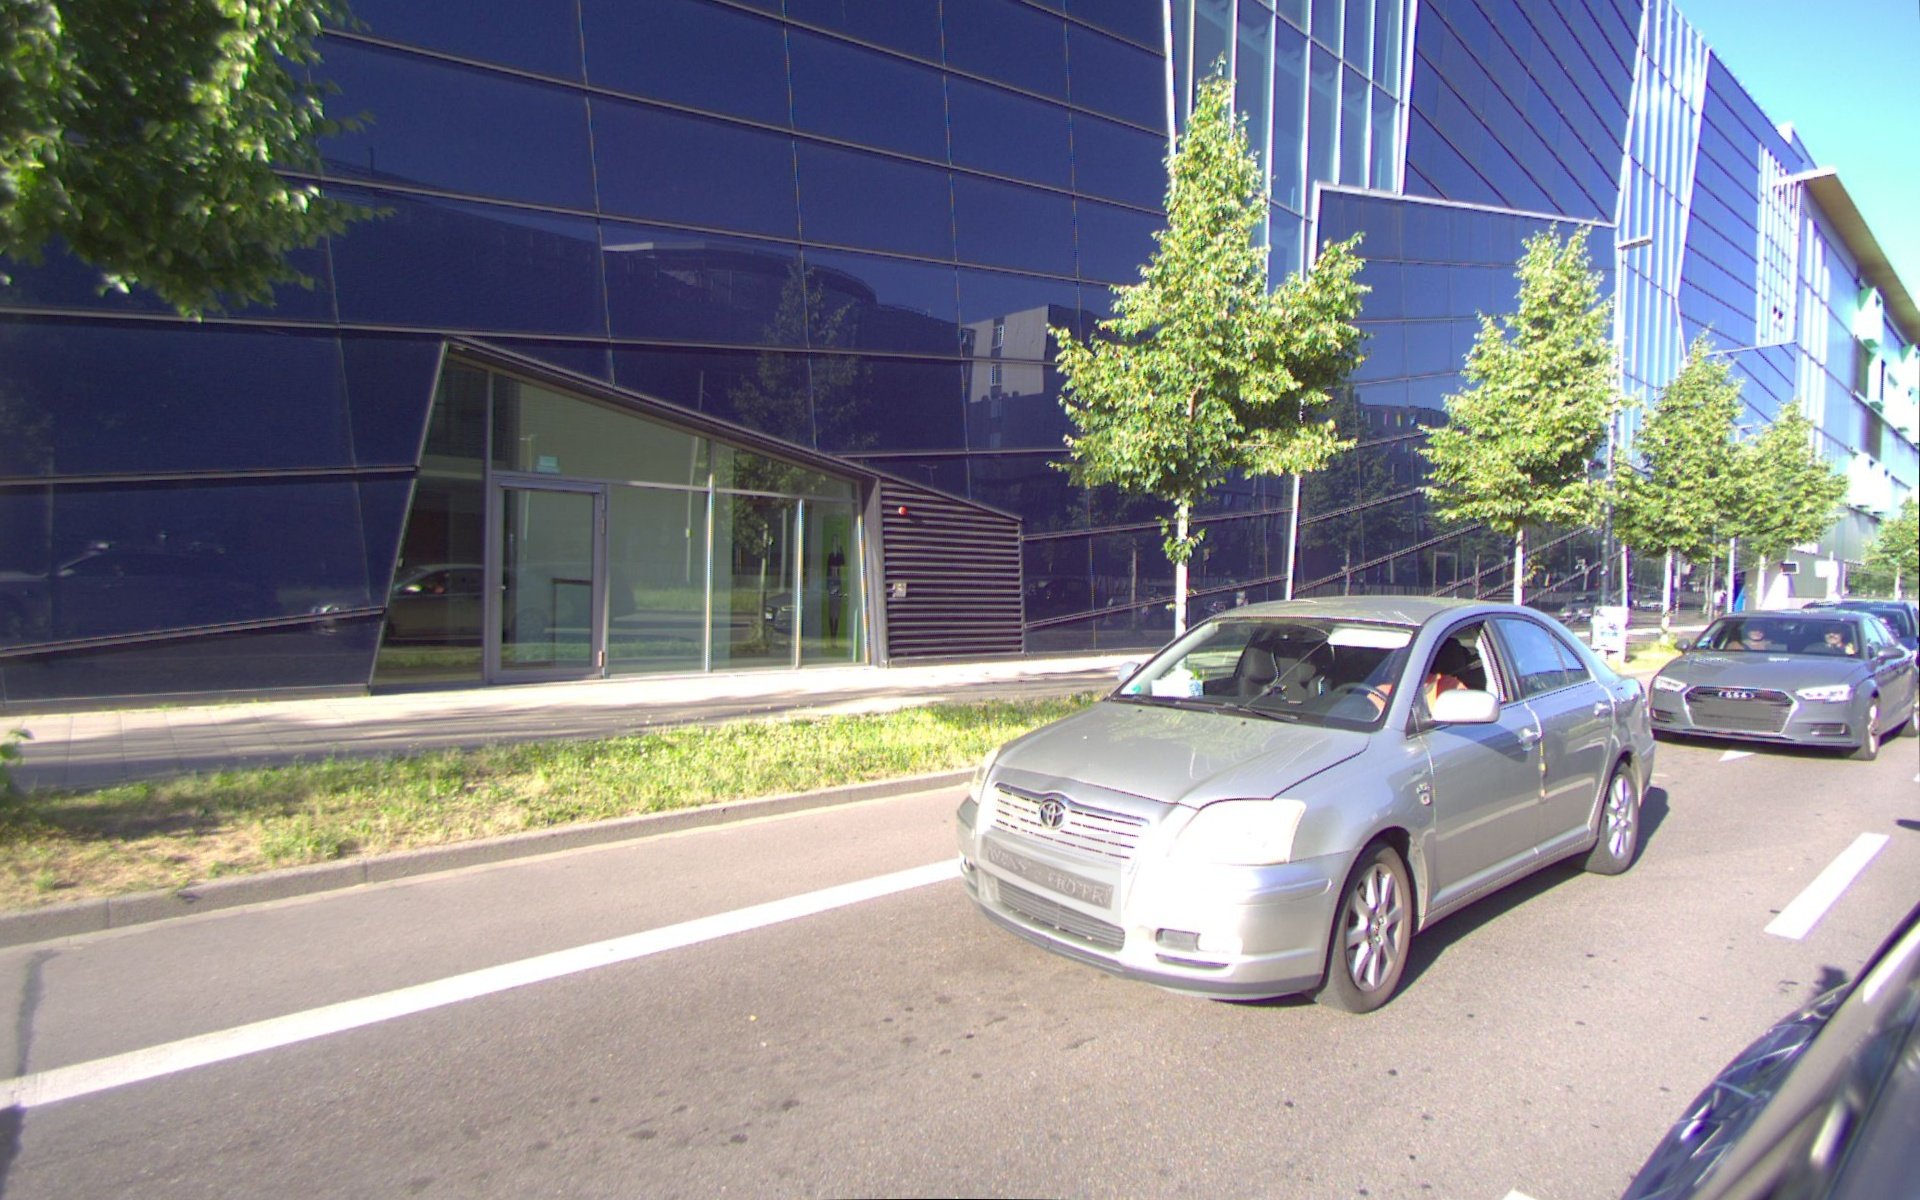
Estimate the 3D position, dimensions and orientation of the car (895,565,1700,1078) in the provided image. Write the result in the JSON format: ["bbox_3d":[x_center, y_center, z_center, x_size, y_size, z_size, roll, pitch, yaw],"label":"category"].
[{"bbox_3d":[2.017,0.606,5.115,4.547,1.500,1.749,-1,2,-40],"label":"car"}]

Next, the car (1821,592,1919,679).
[{"bbox_3d":[17.666,0.621,19.053,3.358,1.497,1.752,0,1,-41],"label":"car"}]

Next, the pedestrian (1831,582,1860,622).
[{"bbox_3d":[43.398,0.084,49.590,0.889,1.846,0.828,0,5,-41],"label":"pedestrian"}]

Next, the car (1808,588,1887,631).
[{"bbox_3d":[35.306,0.364,40.219,4.633,1.516,1.739,0,4,-41],"label":"car"}]

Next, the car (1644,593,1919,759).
[{"bbox_3d":[9.046,0.645,10.816,4.188,1.409,1.750,-1,1,-39],"label":"car"}]

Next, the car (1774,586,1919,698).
[{"bbox_3d":[13.872,0.552,15.333,3.903,1.497,1.752,0,1,-41],"label":"car"}]
